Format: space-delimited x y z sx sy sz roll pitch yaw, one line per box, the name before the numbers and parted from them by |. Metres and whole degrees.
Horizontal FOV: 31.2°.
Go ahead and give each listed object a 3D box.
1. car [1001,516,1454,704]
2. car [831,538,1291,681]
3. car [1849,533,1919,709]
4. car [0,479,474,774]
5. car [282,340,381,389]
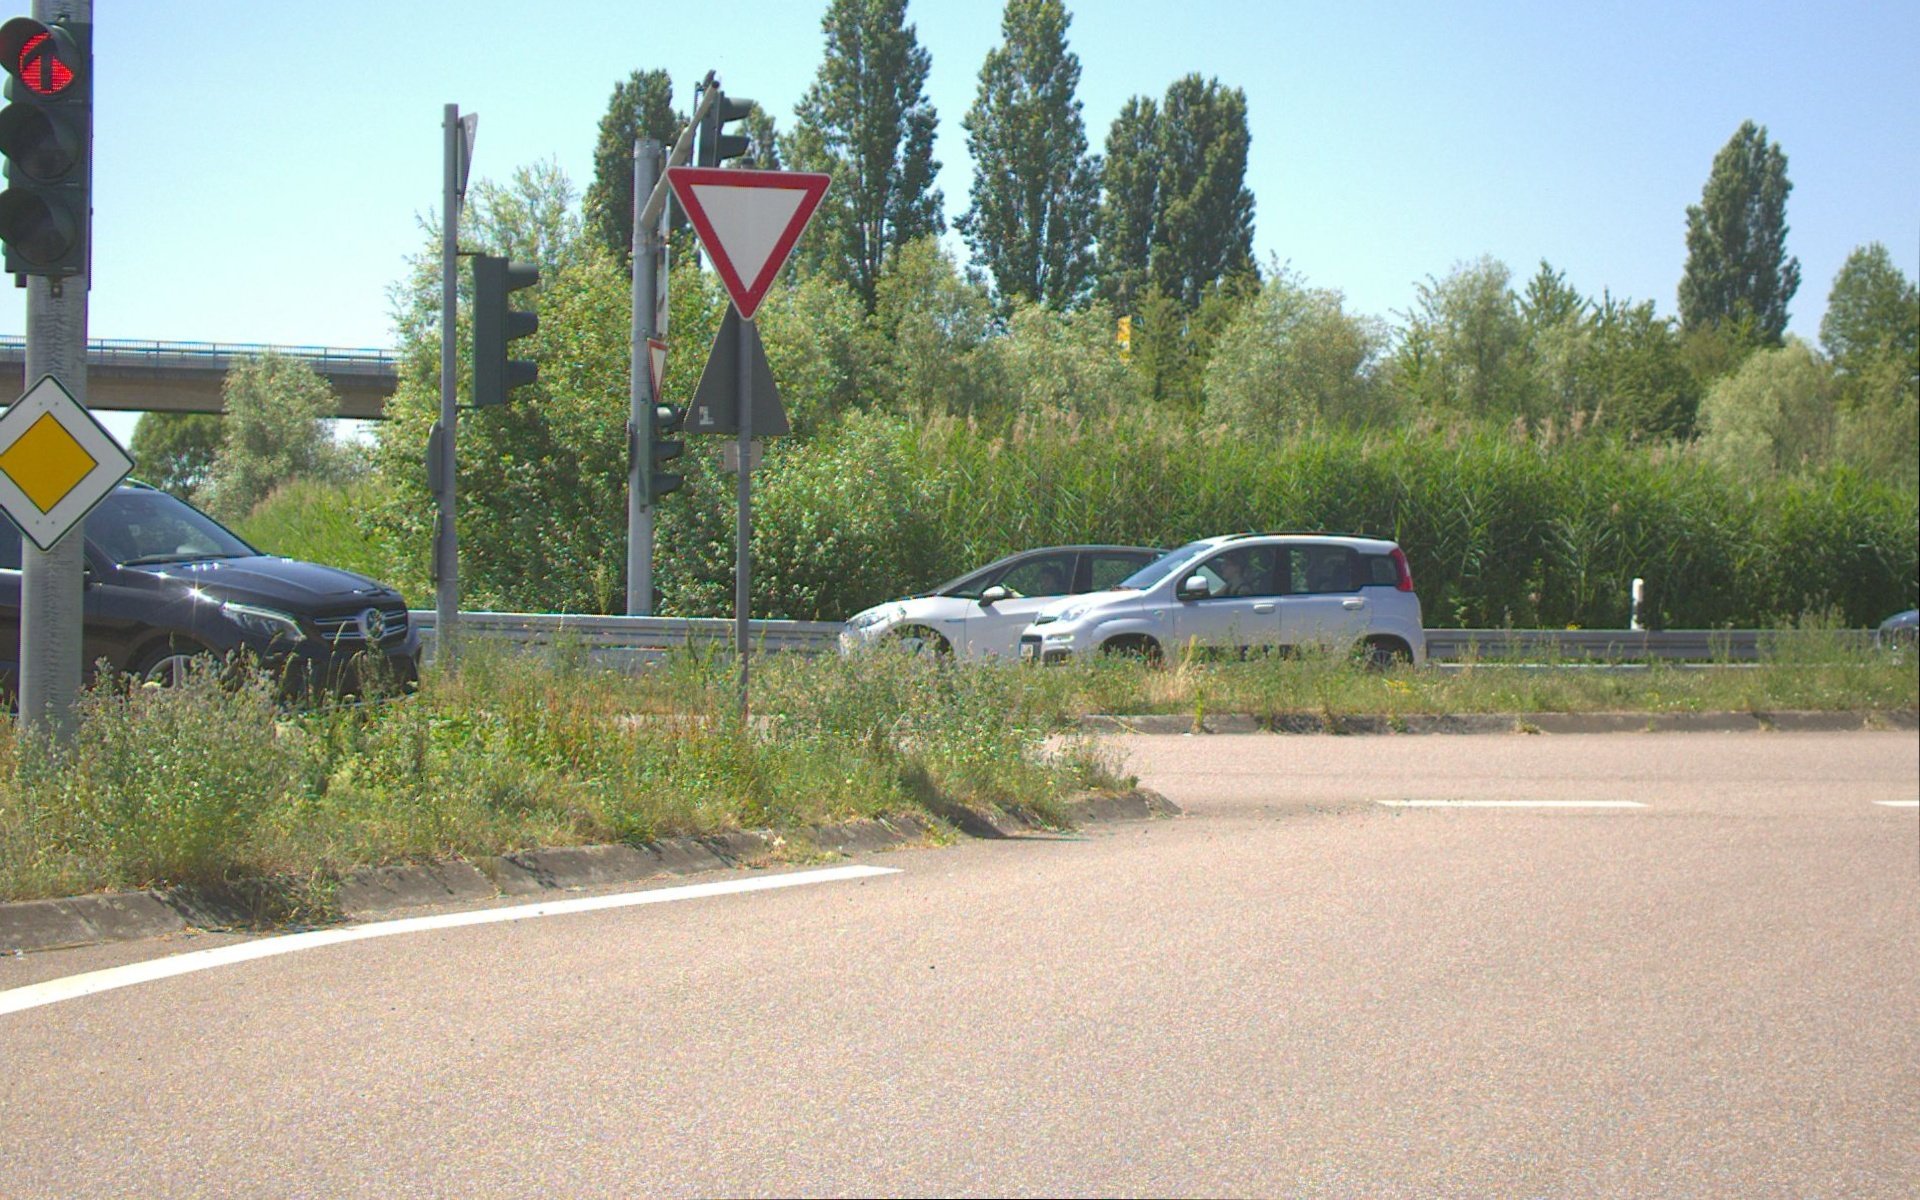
car | 2.372 0.067 30.873 3.705 1.626 1.735 0 1 -13
car | 0.974 0.072 34.786 4.391 1.393 2.001 0 1 -7
car | 11.220 0.183 32.826 4.923 1.626 1.934 0 1 -11
car | -5.707 0.096 22.721 4.588 1.761 1.931 2 2 23
car | -27.578 -10.309 150.763 4.175 2.007 2.001 0 1 -13
